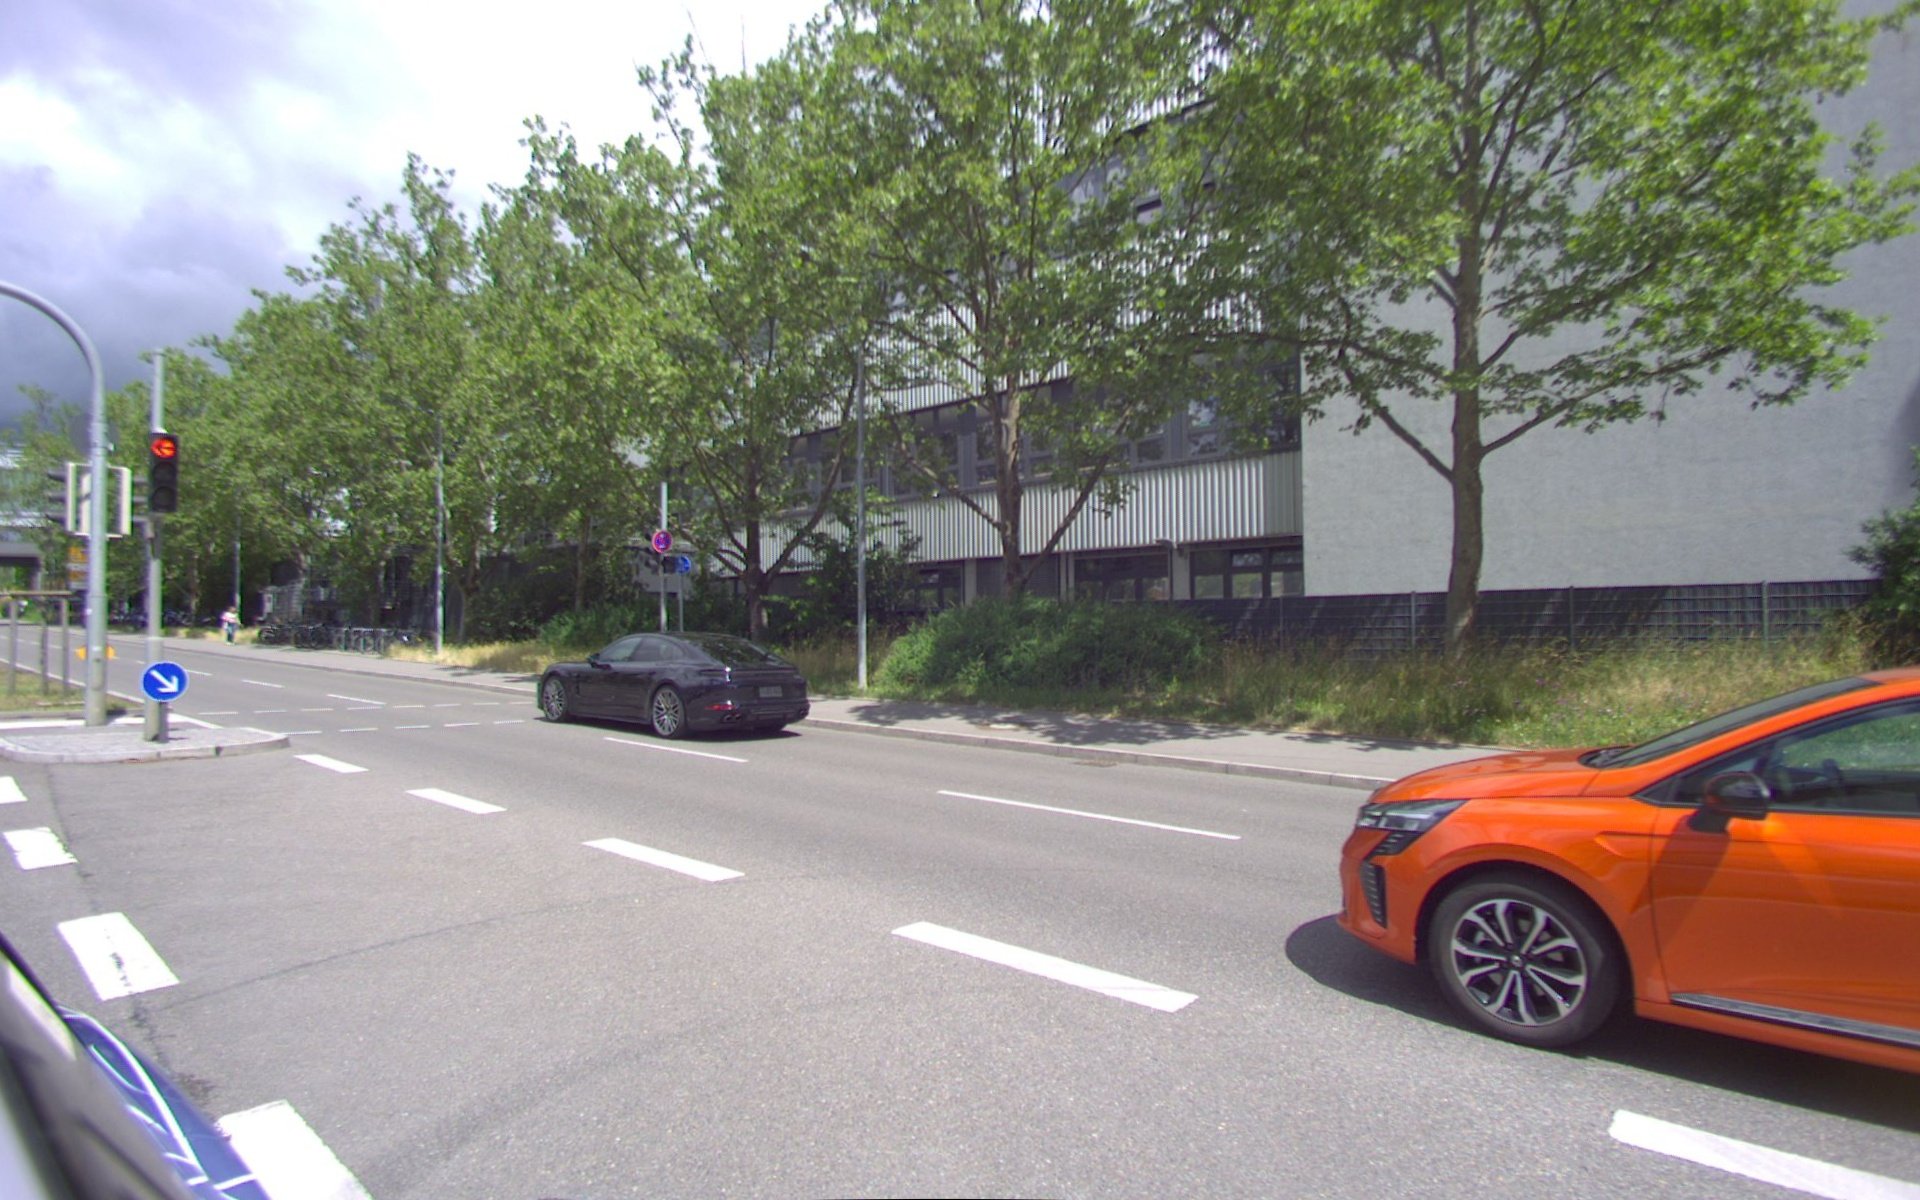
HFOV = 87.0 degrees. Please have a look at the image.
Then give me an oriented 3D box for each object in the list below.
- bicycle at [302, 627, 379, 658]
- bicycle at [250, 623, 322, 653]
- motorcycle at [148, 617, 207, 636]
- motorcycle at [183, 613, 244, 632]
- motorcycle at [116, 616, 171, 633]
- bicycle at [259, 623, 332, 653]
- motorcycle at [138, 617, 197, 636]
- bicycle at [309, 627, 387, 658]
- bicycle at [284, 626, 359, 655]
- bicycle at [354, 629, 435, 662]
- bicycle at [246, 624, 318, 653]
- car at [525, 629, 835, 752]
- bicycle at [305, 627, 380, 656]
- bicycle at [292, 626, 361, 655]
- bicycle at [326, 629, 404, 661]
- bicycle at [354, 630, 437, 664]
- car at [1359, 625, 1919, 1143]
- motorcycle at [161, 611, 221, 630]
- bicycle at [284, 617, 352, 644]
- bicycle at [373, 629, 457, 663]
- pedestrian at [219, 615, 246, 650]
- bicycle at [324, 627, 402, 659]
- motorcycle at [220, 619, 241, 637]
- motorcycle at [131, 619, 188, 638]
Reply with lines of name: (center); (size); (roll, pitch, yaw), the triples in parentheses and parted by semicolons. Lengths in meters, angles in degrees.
bicycle: (-24.536, 1.664, 40.134); (0.628, 1.093, 2.527); (-1, 0, 44)
bicycle: (-29.228, 1.623, 43.942); (0.615, 1.187, 2.529); (-1, 0, 41)
motorcycle: (-47.792, 1.629, 61.835); (2.790, 1.044, 0.601); (-1, -3, -43)
motorcycle: (-43.236, 1.294, 58.656); (0.600, 1.044, 2.792); (-5, -3, 44)
motorcycle: (-54.470, 1.608, 67.515); (0.600, 1.044, 2.792); (-5, -3, 44)
bicycle: (-28.442, 1.622, 43.371); (0.615, 1.187, 2.529); (-1, 0, 41)
motorcycle: (-48.809, 1.624, 62.373); (0.600, 1.044, 2.792); (-5, -3, 44)
bicycle: (-23.899, 1.657, 39.572); (0.615, 1.093, 2.530); (-1, 0, 39)
bicycle: (-26.054, 1.645, 41.353); (2.526, 1.093, 0.616); (-1, 0, -43)
bicycle: (-20.764, 1.649, 37.193); (2.525, 1.093, 0.616); (-1, 0, -42)
bicycle: (-29.821, 1.671, 44.546); (0.615, 1.187, 2.529); (-1, 0, 41)
car: (-4.194, 1.197, 14.746); (4.764, 1.465, 1.973); (-1, -3, 40)
bicycle: (-24.962, 1.661, 40.942); (2.522, 1.093, 0.617); (-1, 0, -36)
bicycle: (-26.398, 1.672, 42.203); (0.615, 1.093, 2.383); (-1, 0, 40)
bicycle: (-22.501, 1.667, 38.346); (0.614, 1.093, 2.536); (-1, 0, 32)
bicycle: (-20.226, 1.663, 36.332); (2.526, 1.093, 0.616); (-1, 0, -44)
car: (3.634, 0.856, 3.392); (3.900, 1.465, 1.865); (-1, -3, 40)
motorcycle: (-46.021, 1.216, 60.615); (0.600, 1.044, 2.792); (-5, -3, 44)
bicycle: (-27.344, 1.293, 43.119); (2.376, 1.093, 0.617); (-1, 0, -39)
bicycle: (-19.186, 1.594, 35.672); (2.526, 1.093, 0.616); (-1, 0, -44)
pedestrian: (-32.725, 1.470, 45.514); (0.749, 1.544, 0.835); (-1, 0, 41)
bicycle: (-23.011, 1.640, 39.071); (0.615, 1.093, 2.531); (-1, 0, 38)
motorcycle: (-46.395, 1.775, 64.348); (2.590, 1.044, 0.591); (-5, -3, 44)
motorcycle: (-50.801, 1.803, 64.262); (0.600, 1.044, 2.792); (-5, -3, 44)
